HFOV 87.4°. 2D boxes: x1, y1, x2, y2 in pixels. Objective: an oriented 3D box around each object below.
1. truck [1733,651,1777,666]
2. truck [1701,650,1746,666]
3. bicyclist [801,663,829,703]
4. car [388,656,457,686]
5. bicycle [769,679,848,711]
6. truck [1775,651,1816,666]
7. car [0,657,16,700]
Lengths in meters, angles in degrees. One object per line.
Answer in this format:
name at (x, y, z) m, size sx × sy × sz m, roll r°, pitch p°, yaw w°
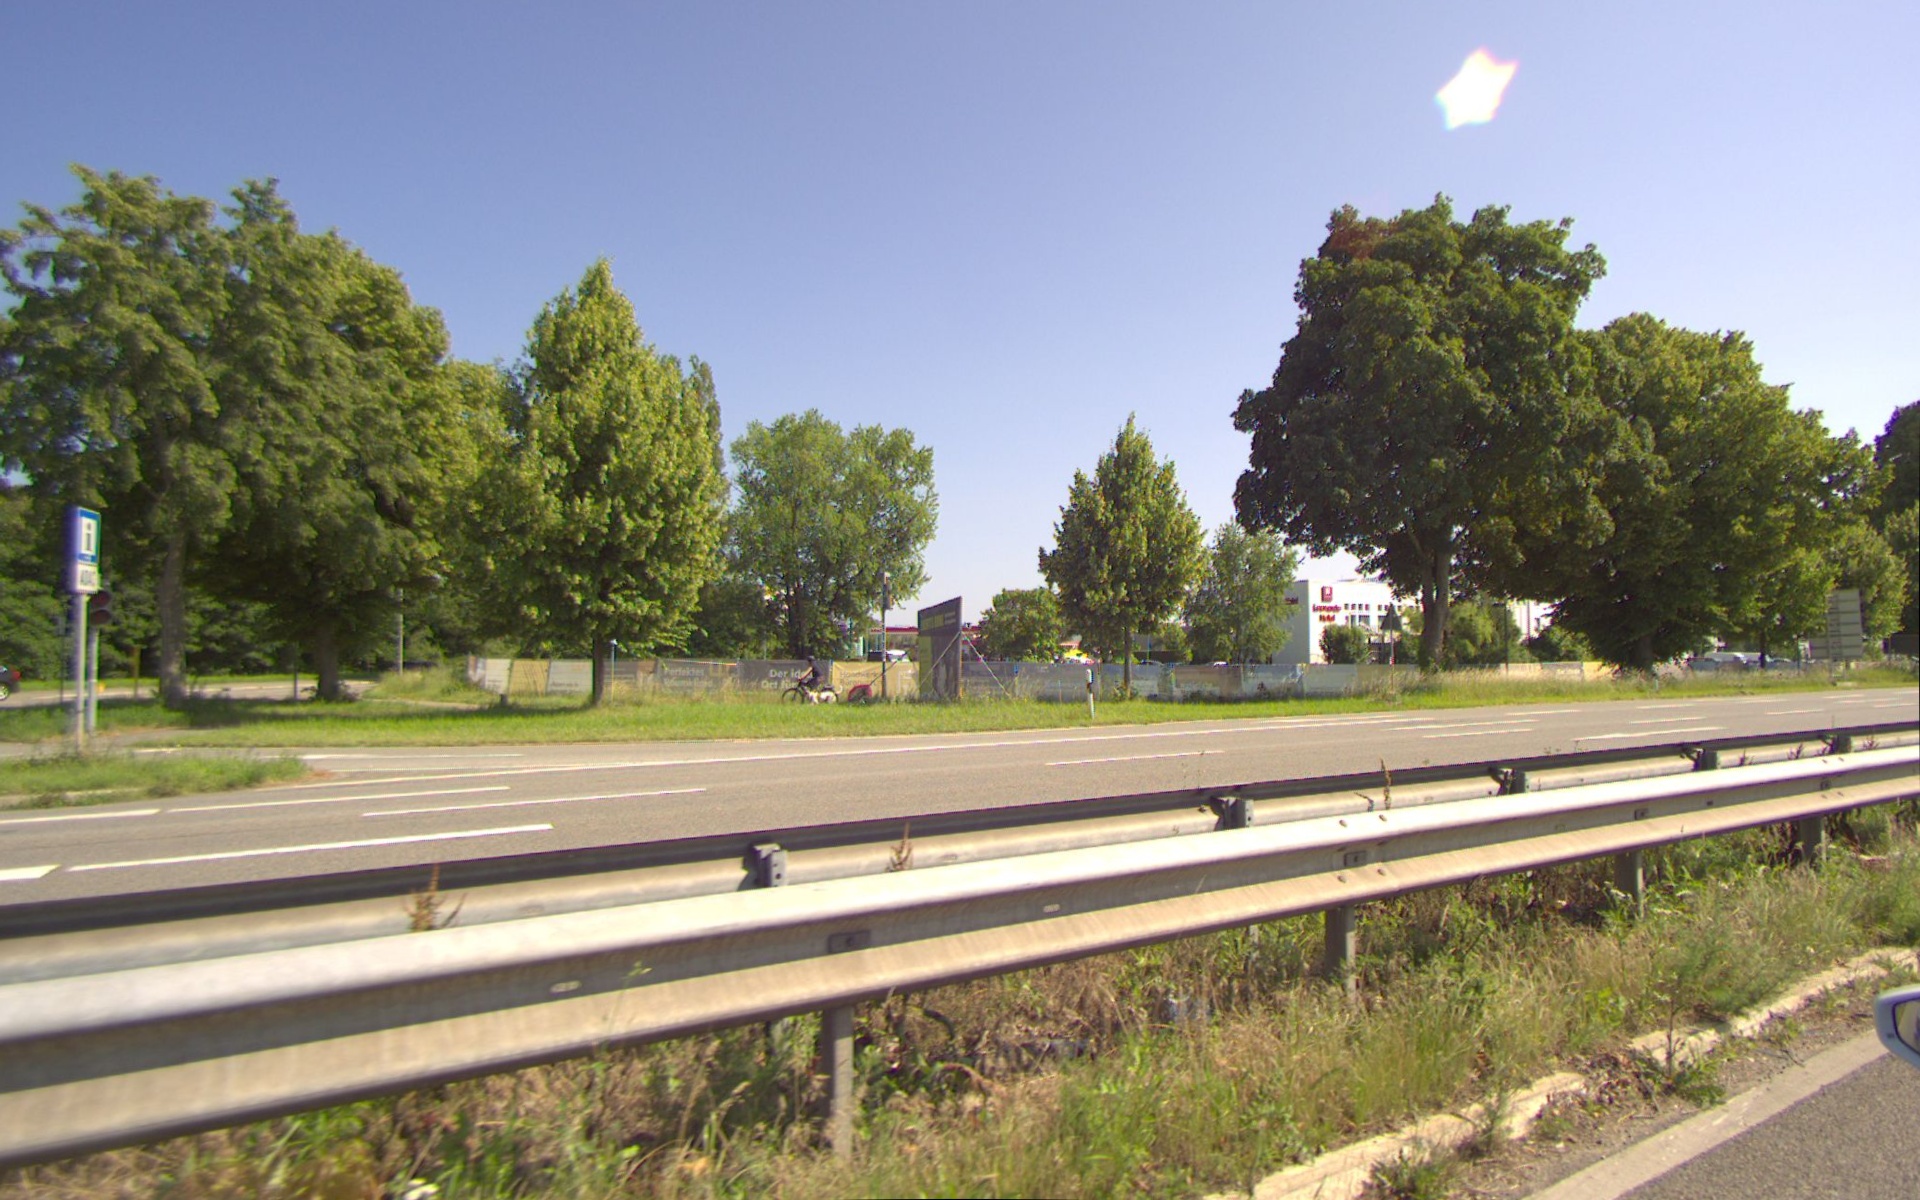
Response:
truck at (112.620, 8.263, 142.281) m, size 2.028 × 2.040 × 4.480 m, roll 2°, pitch -2°, yaw -30°
truck at (104.969, 7.978, 138.151) m, size 2.028 × 2.040 × 4.480 m, roll 2°, pitch -2°, yaw -30°
bicyclist at (-4.661, 2.647, 32.179) m, size 0.877 × 1.232 × 0.610 m, roll 0°, pitch -2°, yaw -10°
car at (-33.357, 4.364, 62.447) m, size 1.875 × 1.671 × 4.003 m, roll 1°, pitch -2°, yaw 5°
bicycle at (-4.853, 3.038, 32.169) m, size 2.466 × 0.962 × 0.839 m, roll 0°, pitch -2°, yaw -10°
truck at (128.251, 8.962, 154.278) m, size 2.028 × 2.040 × 4.480 m, roll 2°, pitch -2°, yaw -30°
car at (-41.157, 3.237, 40.578) m, size 1.741 × 1.773 × 4.102 m, roll 1°, pitch -2°, yaw 11°
